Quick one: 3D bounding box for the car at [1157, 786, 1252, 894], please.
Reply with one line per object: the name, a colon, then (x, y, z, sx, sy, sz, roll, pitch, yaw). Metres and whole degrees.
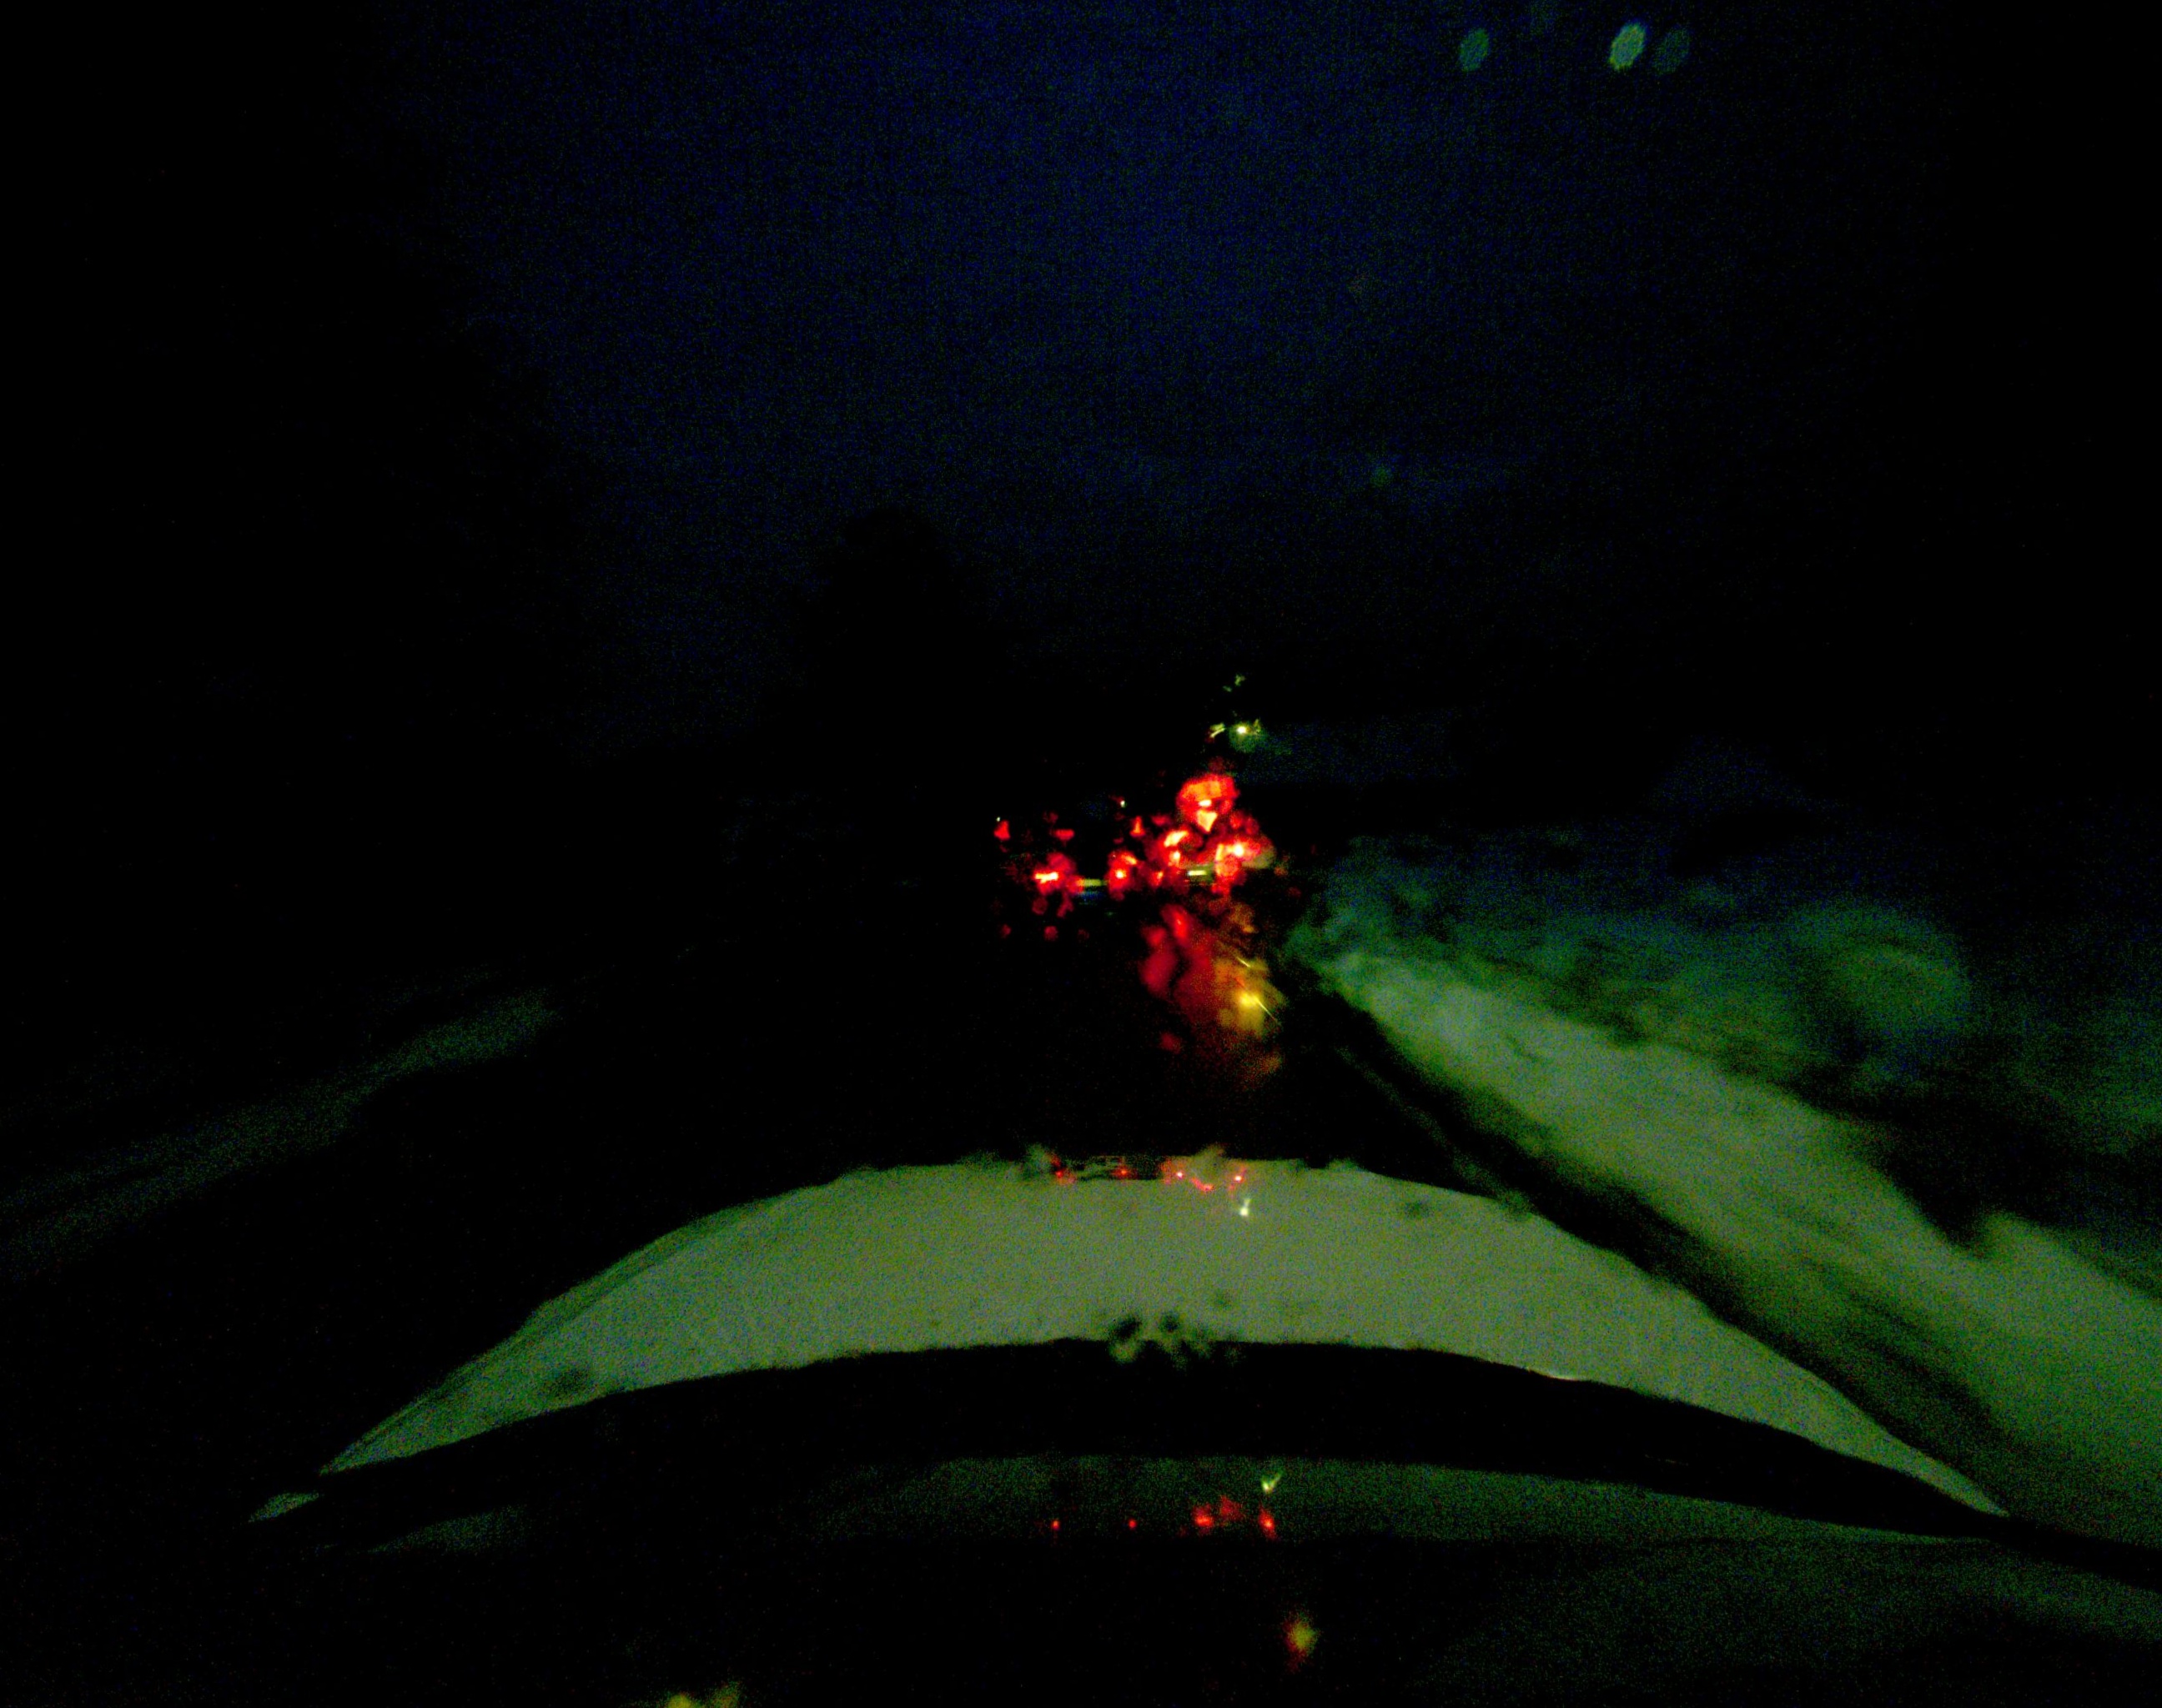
car: (3.793, -0.426, 26.101, 2.425, 3.018, 5.329, -2, 0, 3)

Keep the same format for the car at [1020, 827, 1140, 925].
car: (0.029, 0.412, 18.132, 2.266, 1.840, 5.008, -1, 0, 1)

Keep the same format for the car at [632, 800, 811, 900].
car: (-10.448, -0.169, 24.441, 2.461, 2.571, 6.230, -1, 1, 1)
